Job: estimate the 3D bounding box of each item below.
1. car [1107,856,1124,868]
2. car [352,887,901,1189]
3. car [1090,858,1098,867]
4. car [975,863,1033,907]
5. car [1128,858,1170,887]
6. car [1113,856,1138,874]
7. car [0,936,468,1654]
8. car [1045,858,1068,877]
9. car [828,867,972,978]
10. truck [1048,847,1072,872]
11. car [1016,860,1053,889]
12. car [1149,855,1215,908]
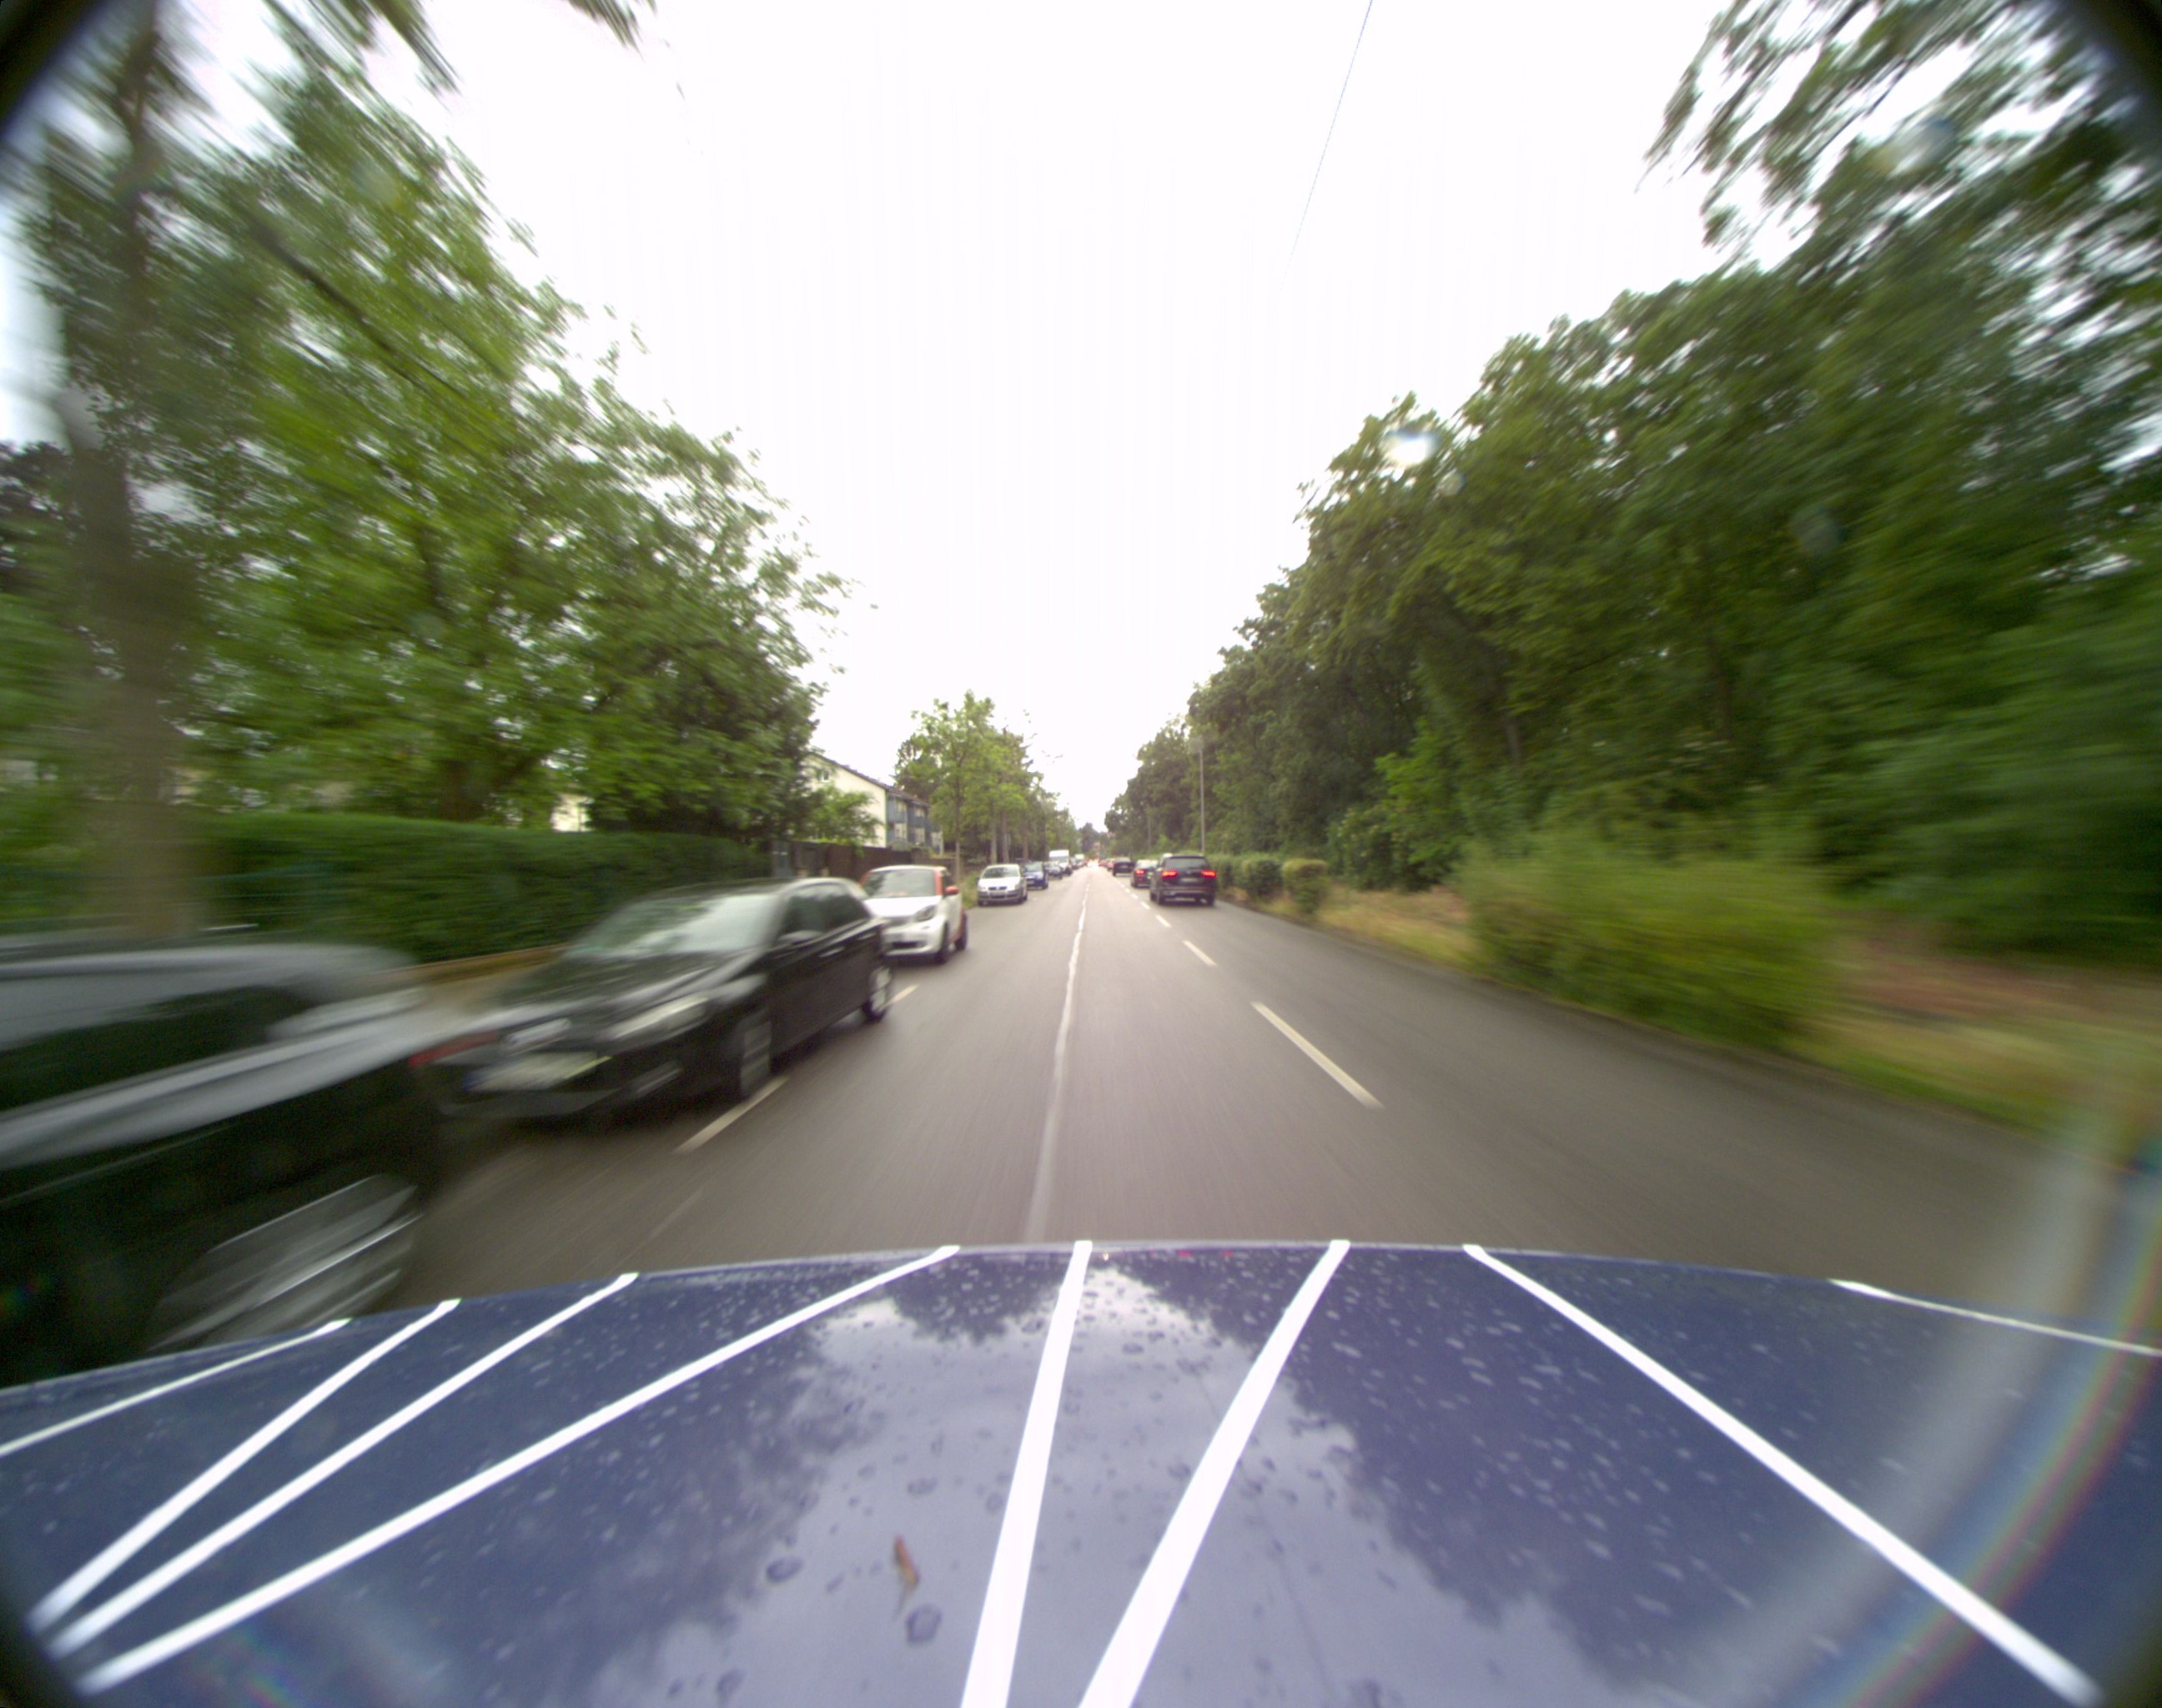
[{"bbox_3d":[4.267,0.983,94.245,1.998,1.543,4.000,0,0,0],"label":"car"},{"bbox_3d":[-2.952,1.094,6.107,1.732,1.402,4.001,-3,0,4],"label":"car"},{"bbox_3d":[3.234,2.188,188.649,1.998,2.002,4.000,-2,1,3],"label":"car"},{"bbox_3d":[-2.812,1.106,28.463,1.675,1.420,3.700,-2,0,1],"label":"car"},{"bbox_3d":[3.492,0.923,39.784,1.718,1.437,4.051,0,0,-2],"label":"car"},{"bbox_3d":[3.806,0.929,65.867,1.851,1.490,4.000,0,0,-1],"label":"car"},{"bbox_3d":[-3.238,1.082,0.757,1.621,1.459,4.410,-3,0,0],"label":"car"},{"bbox_3d":[-1.956,1.078,62.172,1.789,1.452,4.000,0,0,0],"label":"car"},{"bbox_3d":[-2.849,1.031,12.521,1.601,1.508,2.801,-2,0,1],"label":"car"},{"bbox_3d":[-2.023,0.509,74.676,2.230,2.321,5.113,0,0,0],"label":"truck"},{"bbox_3d":[-2.513,1.107,41.682,1.675,1.420,3.700,-2,0,1],"label":"car"},{"bbox_3d":[3.275,0.854,25.314,1.680,1.608,4.062,0,0,0],"label":"car"}]
